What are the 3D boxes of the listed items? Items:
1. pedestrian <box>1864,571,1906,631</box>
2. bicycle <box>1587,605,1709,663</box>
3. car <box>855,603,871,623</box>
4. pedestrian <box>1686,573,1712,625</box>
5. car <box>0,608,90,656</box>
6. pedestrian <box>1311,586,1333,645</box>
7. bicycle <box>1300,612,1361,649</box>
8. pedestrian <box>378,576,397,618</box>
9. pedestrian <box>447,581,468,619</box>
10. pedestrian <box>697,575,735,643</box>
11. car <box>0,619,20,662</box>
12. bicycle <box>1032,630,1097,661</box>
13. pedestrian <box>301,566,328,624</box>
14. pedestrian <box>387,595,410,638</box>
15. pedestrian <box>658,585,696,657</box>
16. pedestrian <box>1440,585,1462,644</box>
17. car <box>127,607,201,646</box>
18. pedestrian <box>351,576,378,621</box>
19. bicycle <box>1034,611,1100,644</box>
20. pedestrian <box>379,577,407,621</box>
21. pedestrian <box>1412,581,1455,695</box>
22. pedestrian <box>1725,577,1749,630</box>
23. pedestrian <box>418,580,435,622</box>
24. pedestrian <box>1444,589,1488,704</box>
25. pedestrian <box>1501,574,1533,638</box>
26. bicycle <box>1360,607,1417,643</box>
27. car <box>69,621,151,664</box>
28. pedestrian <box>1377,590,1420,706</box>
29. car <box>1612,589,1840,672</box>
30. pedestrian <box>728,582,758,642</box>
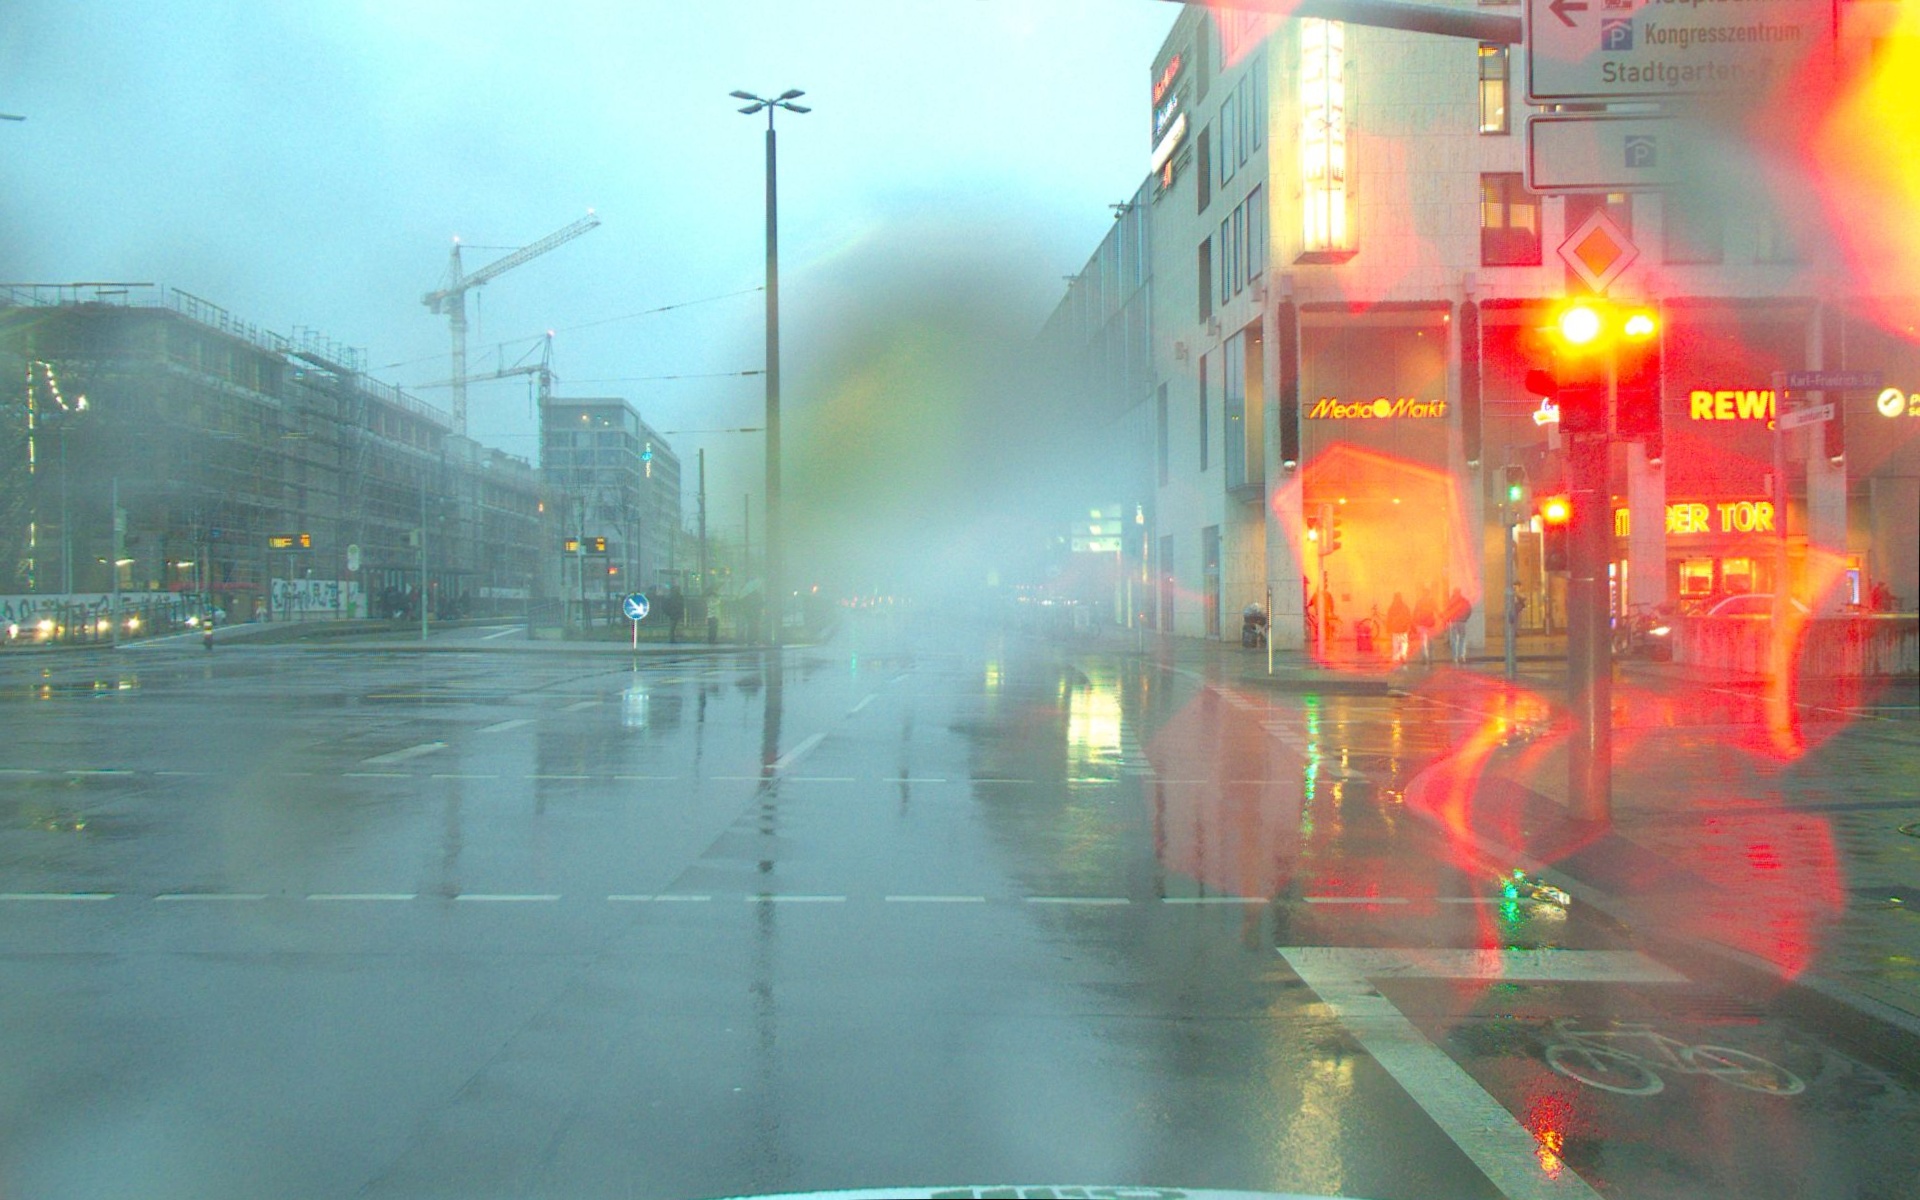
[{"bbox_3d":[26.869,0.025,48.049,0.875,1.714,0.528,-1,-1,-1],"label":"pedestrian"},{"bbox_3d":[17.199,0.837,41.359,2.659,1.383,0.957,-1,-1,-4],"label":"bicycle"},{"bbox_3d":[-10.190,1.365,174.052,1.546,2.049,3.169,-1,0,-3],"label":"car"},{"bbox_3d":[25.156,-0.040,56.293,0.721,1.748,0.738,-1,-1,27],"label":"pedestrian"},{"bbox_3d":[-37.087,1.270,67.082,1.830,1.860,3.993,1,0,-8],"label":"car"},{"bbox_3d":[10.980,0.479,50.233,0.587,1.775,0.525,1,-1,7],"label":"pedestrian"},{"bbox_3d":[11.394,0.929,50.857,1.733,1.088,0.524,1,-1,-5],"label":"bicycle"},{"bbox_3d":[-26.560,-0.145,76.762,0.684,1.913,0.553,1,-1,-2],"label":"pedestrian"},{"bbox_3d":[-27.561,0.009,90.737,0.924,2.049,1.092,1,-1,-8],"label":"pedestrian"},{"bbox_3d":[-6.845,0.254,46.363,0.813,1.863,0.777,1,-1,-31],"label":"pedestrian"},{"bbox_3d":[-36.407,1.516,60.546,2.038,1.557,4.604,-1,0,-10],"label":"car"},{"bbox_3d":[3.948,1.707,62.367,2.376,1.118,0.711,-1,-1,-3],"label":"bicycle"},{"bbox_3d":[-26.646,-0.184,68.316,0.750,2.364,0.762,1,-2,-1],"label":"pedestrian"},{"bbox_3d":[-25.547,0.765,75.288,0.750,1.931,0.762,1,-2,-1],"label":"pedestrian"},{"bbox_3d":[-8.101,0.601,47.275,0.771,2.049,0.724,0,-1,41],"label":"pedestrian"},{"bbox_3d":[14.268,0.426,48.059,0.476,1.692,0.457,-1,-1,30],"label":"pedestrian"},{"bbox_3d":[-38.447,1.254,79.976,1.955,1.822,3.994,1,0,-7],"label":"car"},{"bbox_3d":[-27.435,-0.050,76.232,0.924,2.049,1.092,1,-1,-8],"label":"pedestrian"},{"bbox_3d":[3.992,1.022,61.649,2.393,1.174,0.674,-1,-1,-2],"label":"bicycle"},{"bbox_3d":[-26.698,-0.030,77.887,0.923,2.049,1.093,1,-1,-3],"label":"pedestrian"},{"bbox_3d":[10.419,0.825,36.401,0.675,2.484,0.758,1,-1,-1],"label":"pedestrian"},{"bbox_3d":[25.395,0.126,54.052,0.603,1.714,0.366,-1,0,-5],"label":"pedestrian"},{"bbox_3d":[-25.933,0.034,80.379,0.559,2.002,0.664,2,-1,-7],"label":"pedestrian"},{"bbox_3d":[11.189,1.019,36.599,0.679,2.491,0.791,1,-1,-1],"label":"pedestrian"},{"bbox_3d":[17.879,0.194,53.120,0.828,2.049,0.698,-1,0,8],"label":"pedestrian"},{"bbox_3d":[13.227,0.778,51.014,1.614,1.088,0.524,1,-1,-5],"label":"bicycle"},{"bbox_3d":[-38.199,1.888,74.418,1.955,1.822,3.994,1,0,-7],"label":"car"},{"bbox_3d":[9.494,1.026,35.844,0.700,2.484,0.758,1,-1,-1],"label":"pedestrian"},{"bbox_3d":[16.183,0.637,35.088,3.905,1.646,2.000,1,0,0],"label":"car"},{"bbox_3d":[-6.274,0.335,47.873,0.601,1.715,0.575,0,-1,41],"label":"pedestrian"}]
